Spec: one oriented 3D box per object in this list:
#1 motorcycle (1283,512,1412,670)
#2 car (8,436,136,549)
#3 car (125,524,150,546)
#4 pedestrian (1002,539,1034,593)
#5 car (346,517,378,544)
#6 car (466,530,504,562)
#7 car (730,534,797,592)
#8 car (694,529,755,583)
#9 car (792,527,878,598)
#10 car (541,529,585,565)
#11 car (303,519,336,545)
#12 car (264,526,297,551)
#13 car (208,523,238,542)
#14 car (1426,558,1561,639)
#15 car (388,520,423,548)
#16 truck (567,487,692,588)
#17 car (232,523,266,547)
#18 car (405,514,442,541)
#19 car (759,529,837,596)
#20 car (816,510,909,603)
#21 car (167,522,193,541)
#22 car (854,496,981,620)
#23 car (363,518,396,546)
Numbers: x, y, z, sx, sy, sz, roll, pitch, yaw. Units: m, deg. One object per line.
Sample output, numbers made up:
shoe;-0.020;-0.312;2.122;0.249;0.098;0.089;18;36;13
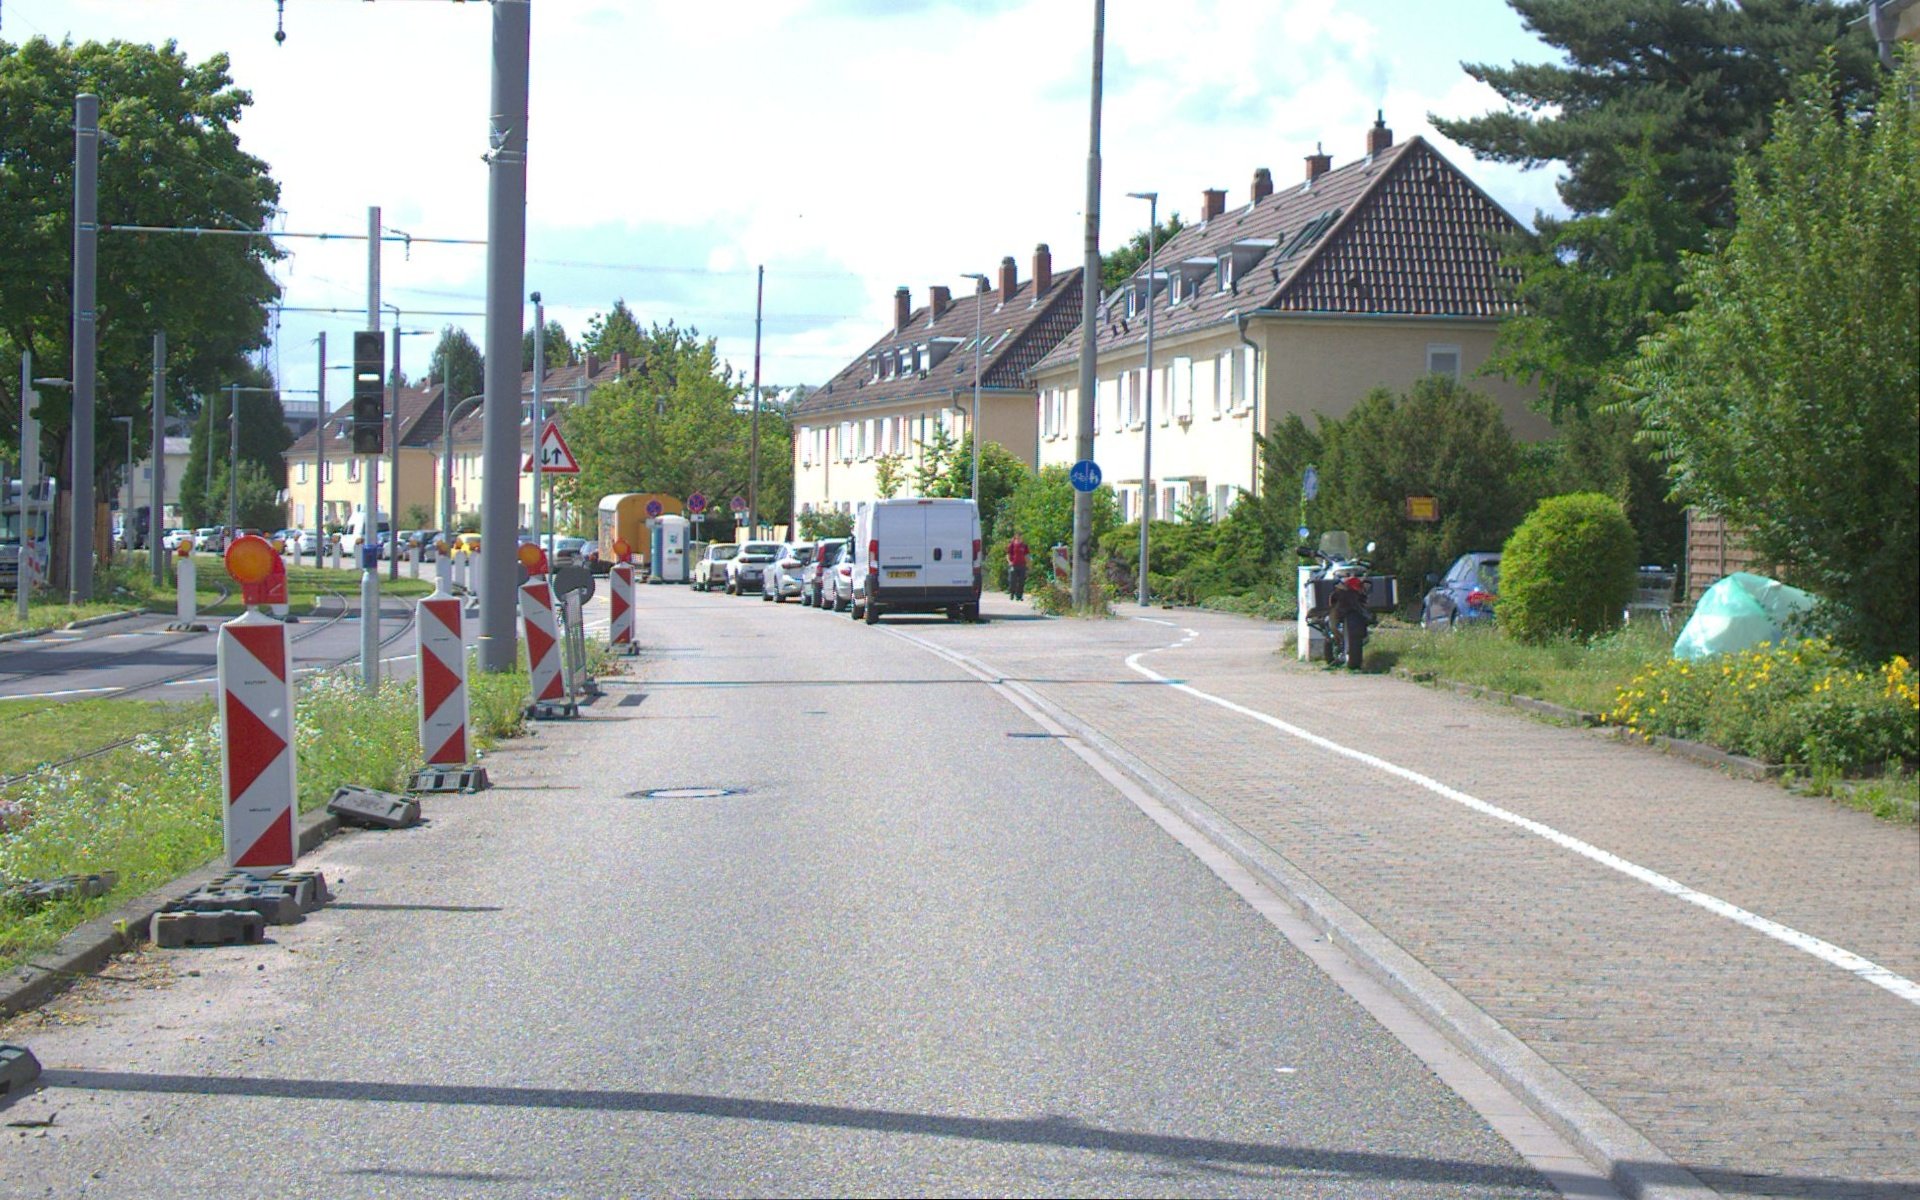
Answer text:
motorcycle;4.136;-0.109;36.878;1.066;1.630;2.084;1;1;-2
car;-19.445;-2.363;75.475;2.406;2.362;4.881;1;2;-11
car;-55.006;-4.367;229.916;1.257;1.421;2.666;0;1;-22
pedestrian;1.363;-0.801;80.890;0.632;1.250;0.727;1;1;-9
car;-31.617;-3.682;181.714;1.165;1.421;2.666;1;1;-22
car;-21.789;-2.494;157.588;1.257;1.421;2.666;1;1;-19
car;-5.440;-1.024;95.025;1.567;1.546;3.479;1;1;-7
car;-6.963;-1.321;101.409;1.567;1.546;3.480;1;1;-7
car;-2.847;-0.875;77.690;1.567;1.546;3.790;1;1;-7
car;-15.845;-2.117;137.250;1.257;1.421;2.666;1;1;-17
car;-35.789;-3.786;192.104;1.257;1.421;2.666;0;1;-22
car;-39.384;-3.577;199.244;1.257;1.421;2.666;0;1;-24
car;-45.436;-4.170;211.830;1.257;1.138;2.666;0;1;-25
car;7.233;-0.034;46.740;1.311;1.026;2.769;1;1;-2
car;-27.954;-3.326;173.310;1.257;1.346;2.666;1;1;-20
truck;-12.097;-2.292;125.021;2.639;3.482;9.441;1;1;-17
car;-42.656;-3.923;206.178;1.257;1.421;2.666;0;1;-28
car;-26.438;-3.578;169.448;1.257;1.346;2.666;1;1;-20
car;-3.939;-0.922;83.222;1.567;1.546;3.790;1;1;-7
car;-2.079;-0.924;72.414;1.567;1.891;3.790;1;1;-7
car;-50.155;-4.382;221.004;1.257;1.182;2.666;0;1;-20
car;-0.823;-0.784;62.883;2.065;2.141;4.879;1;1;-4
car;-29.979;-3.496;177.541;1.165;1.421;2.666;1;1;-22
